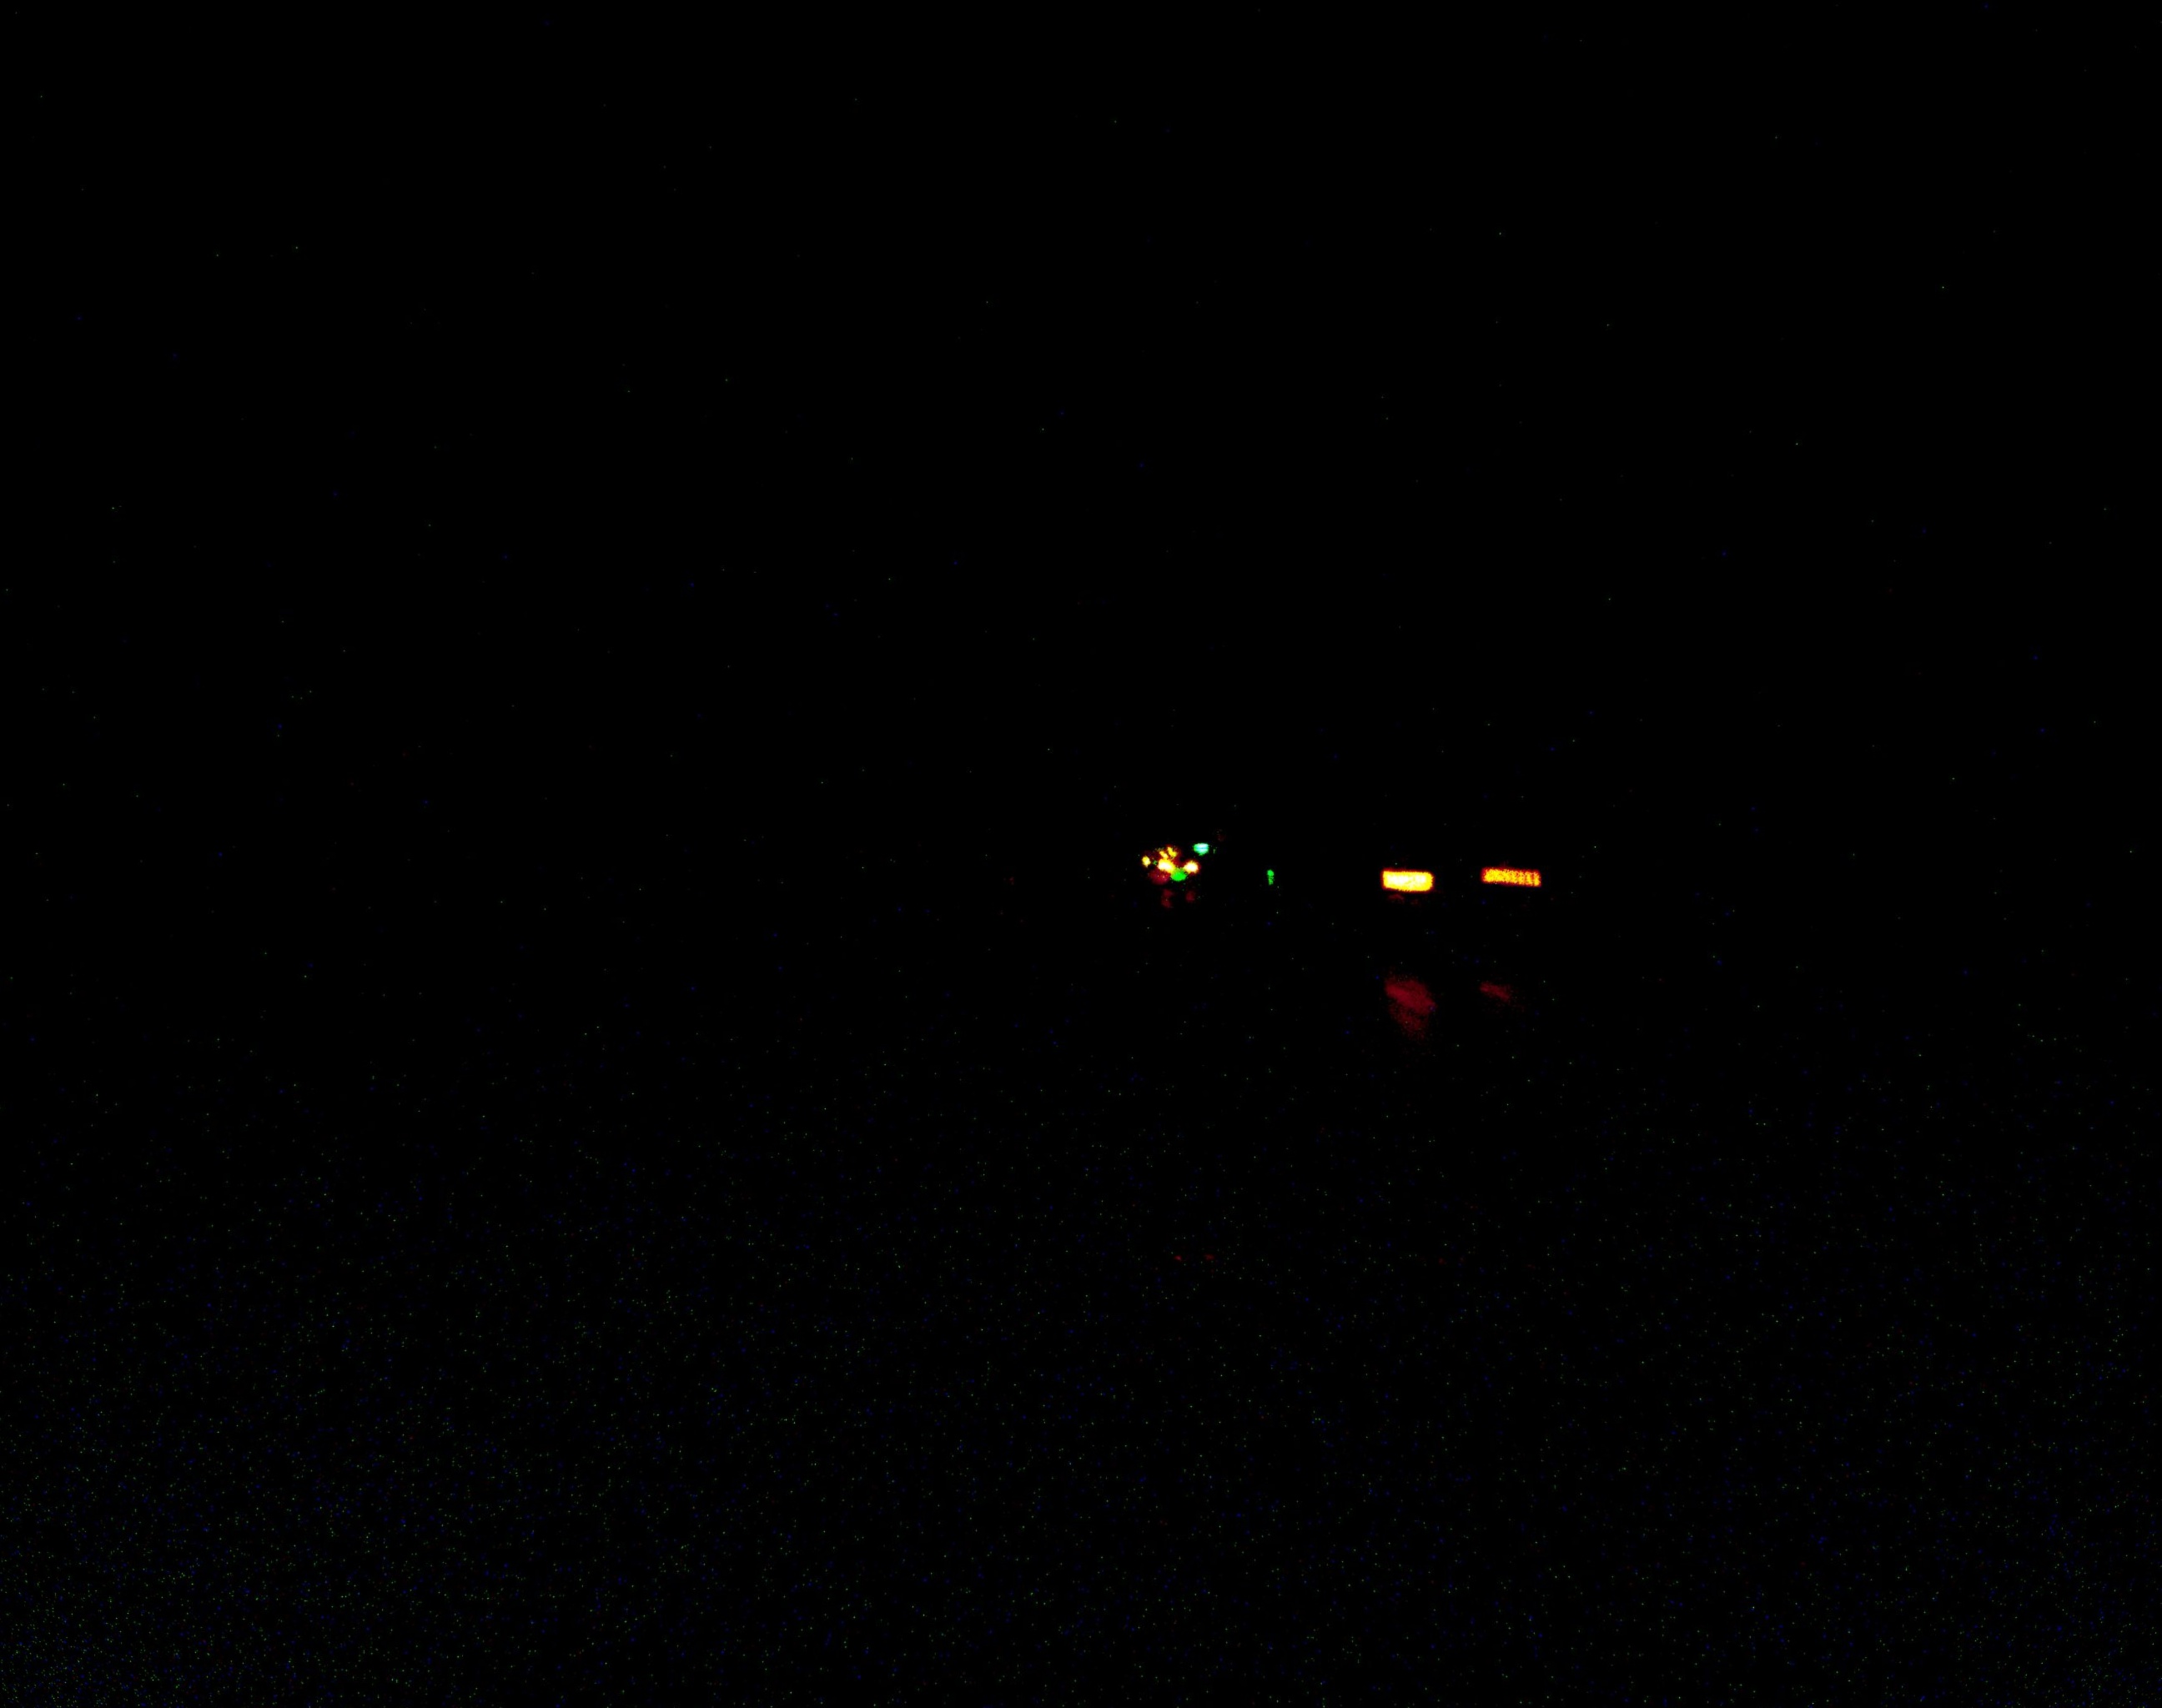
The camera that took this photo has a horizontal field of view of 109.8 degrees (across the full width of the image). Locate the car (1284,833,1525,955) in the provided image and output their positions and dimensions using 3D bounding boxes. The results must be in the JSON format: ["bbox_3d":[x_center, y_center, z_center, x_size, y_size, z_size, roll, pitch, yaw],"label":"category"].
[{"bbox_3d":[5.466,0.550,13.704,1.865,1.737,4.959,-2,1,-5],"label":"car"}]

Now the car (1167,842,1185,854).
[{"bbox_3d":[12.419,-0.766,99.115,1.774,1.475,4.384,-1,1,14],"label":"car"}]

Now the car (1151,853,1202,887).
[{"bbox_3d":[4.396,0.715,35.633,1.776,1.381,4.034,-2,1,-1],"label":"car"}]

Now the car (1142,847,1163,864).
[{"bbox_3d":[6.780,0.127,71.428,1.775,1.381,4.234,-2,1,7],"label":"car"}]

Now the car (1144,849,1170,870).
[{"bbox_3d":[5.448,0.390,55.130,1.775,1.381,4.233,-2,1,5],"label":"car"}]

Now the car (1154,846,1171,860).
[{"bbox_3d":[8.793,-0.156,81.764,1.775,1.381,4.114,-2,1,7],"label":"car"}]
